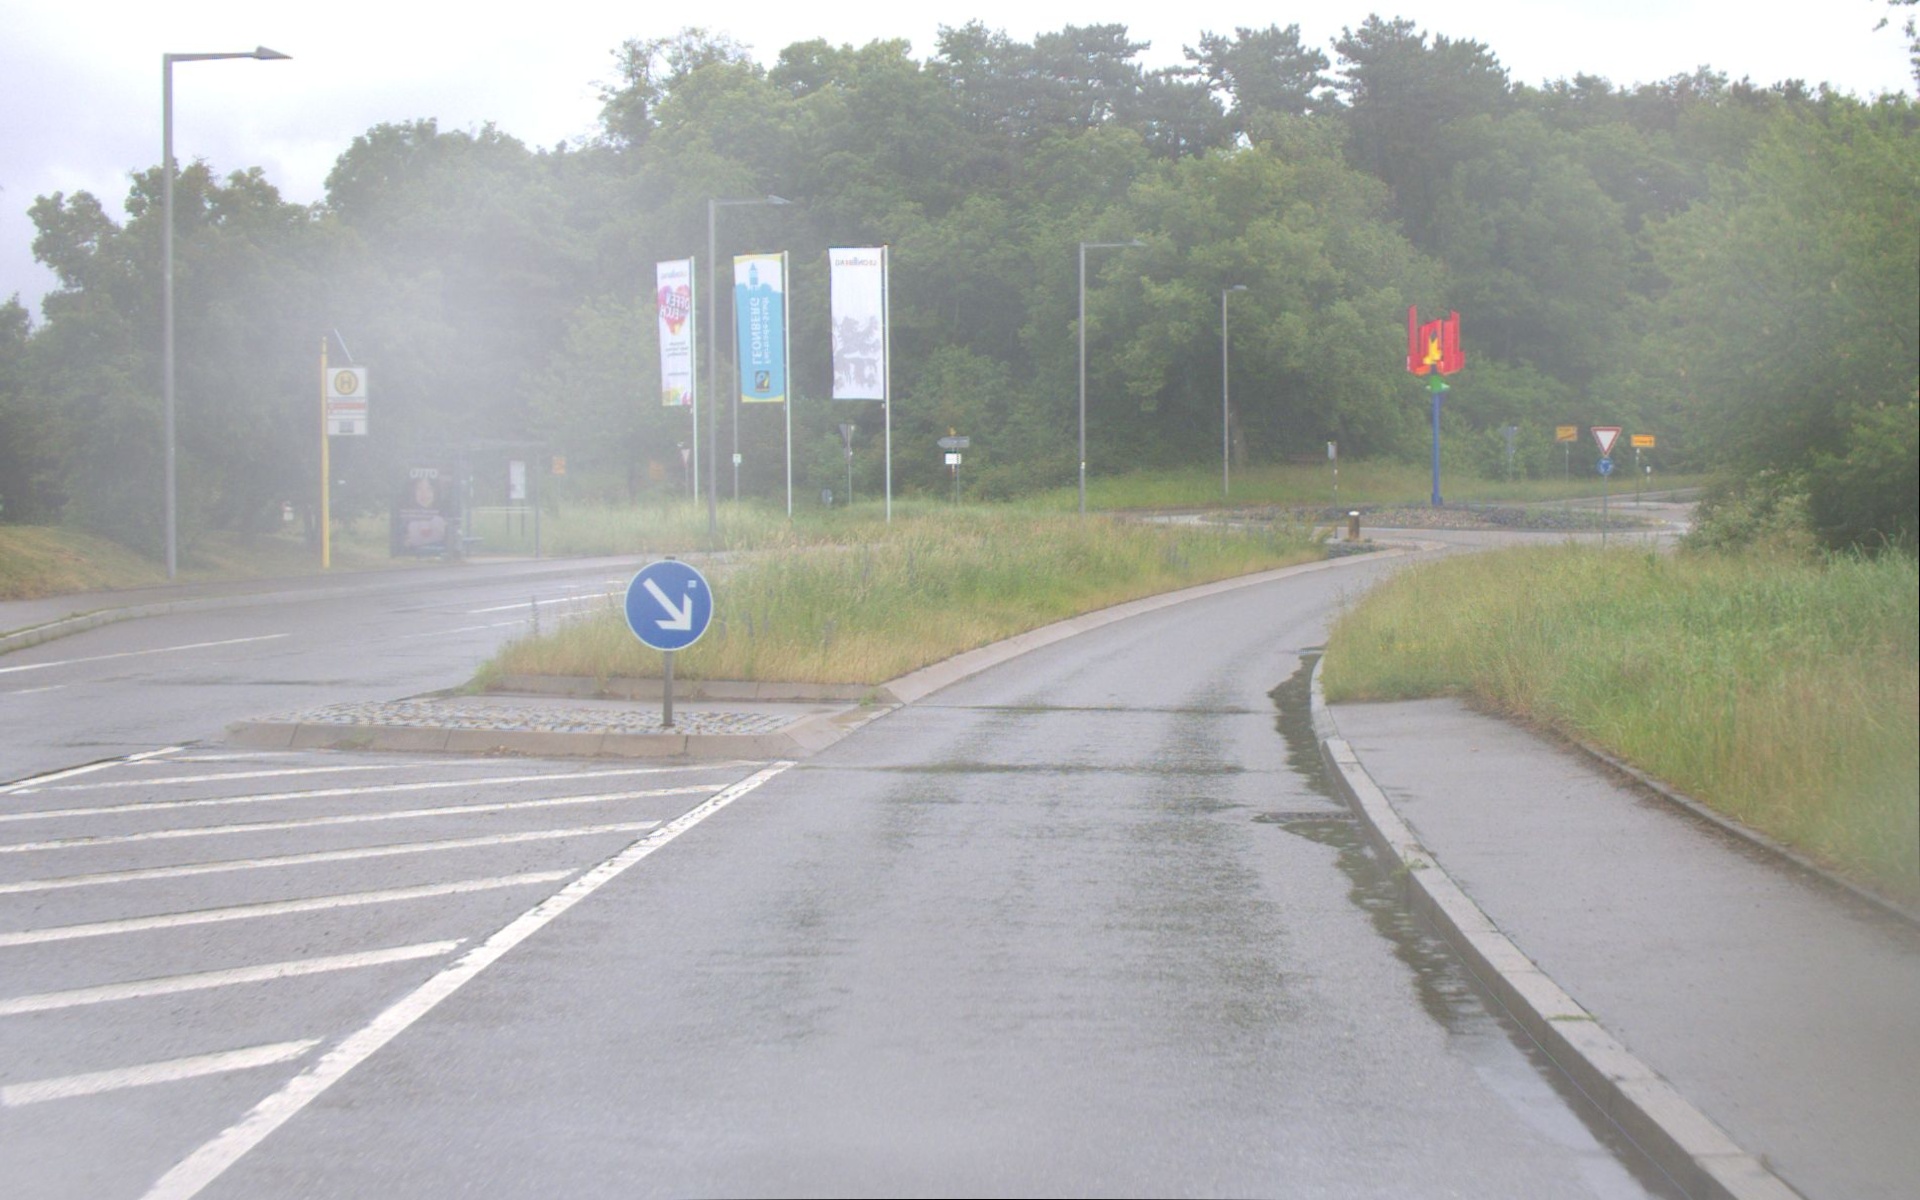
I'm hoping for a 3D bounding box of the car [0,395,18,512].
[{"bbox_3d":[-23.218,-3.134,71.621,6.555,2.389,2.139,1,0,-1],"label":"car"}]
